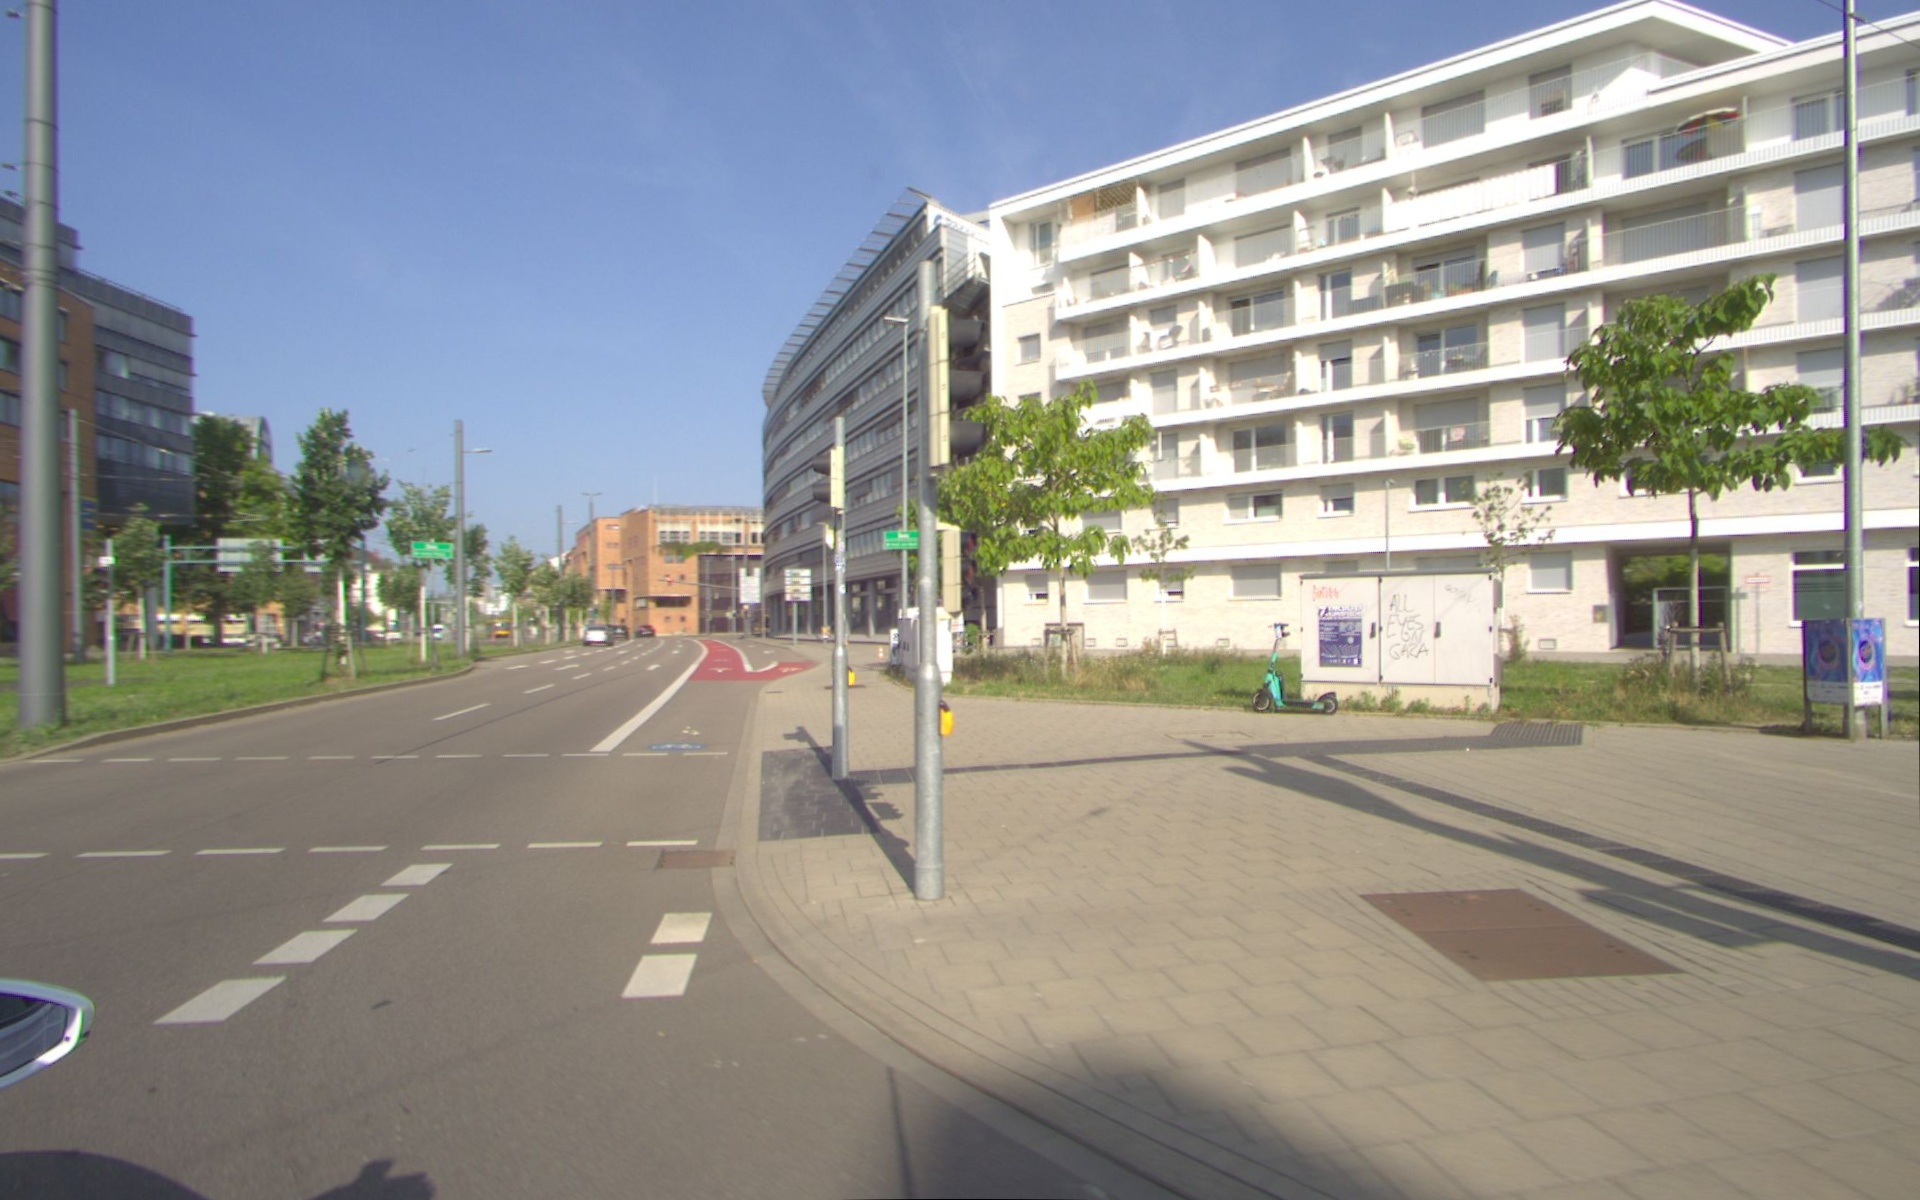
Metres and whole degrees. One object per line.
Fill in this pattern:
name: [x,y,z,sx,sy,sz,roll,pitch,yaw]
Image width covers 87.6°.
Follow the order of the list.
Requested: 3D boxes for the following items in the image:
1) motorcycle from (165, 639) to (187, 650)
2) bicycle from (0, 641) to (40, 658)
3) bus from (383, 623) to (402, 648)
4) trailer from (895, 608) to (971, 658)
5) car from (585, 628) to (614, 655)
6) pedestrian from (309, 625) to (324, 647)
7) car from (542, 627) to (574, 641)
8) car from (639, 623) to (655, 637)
motorcycle: [-77.725,4.385,99.263,1.668,1.009,0.283,0,1,-25]
bicycle: [-50.001,2.633,53.172,1.648,0.919,0.710,0,-2,-1]
bus: [-100.093,6.321,176.658,2.715,3.969,12.165,0,-3,-29]
trailer: [-1.158,1.538,46.970,2.351,2.179,5.948,-1,-1,10]
car: [-25.189,2.914,70.062,1.680,1.777,3.886,0,-3,-17]
pedestrian: [-61.351,3.418,95.446,1.142,2.039,0.773,0,-2,-28]
car: [-48.760,4.099,121.407,3.565,1.644,1.862,1,-2,-23]
car: [-37.456,3.632,119.731,1.748,1.528,3.515,0,-3,-19]
